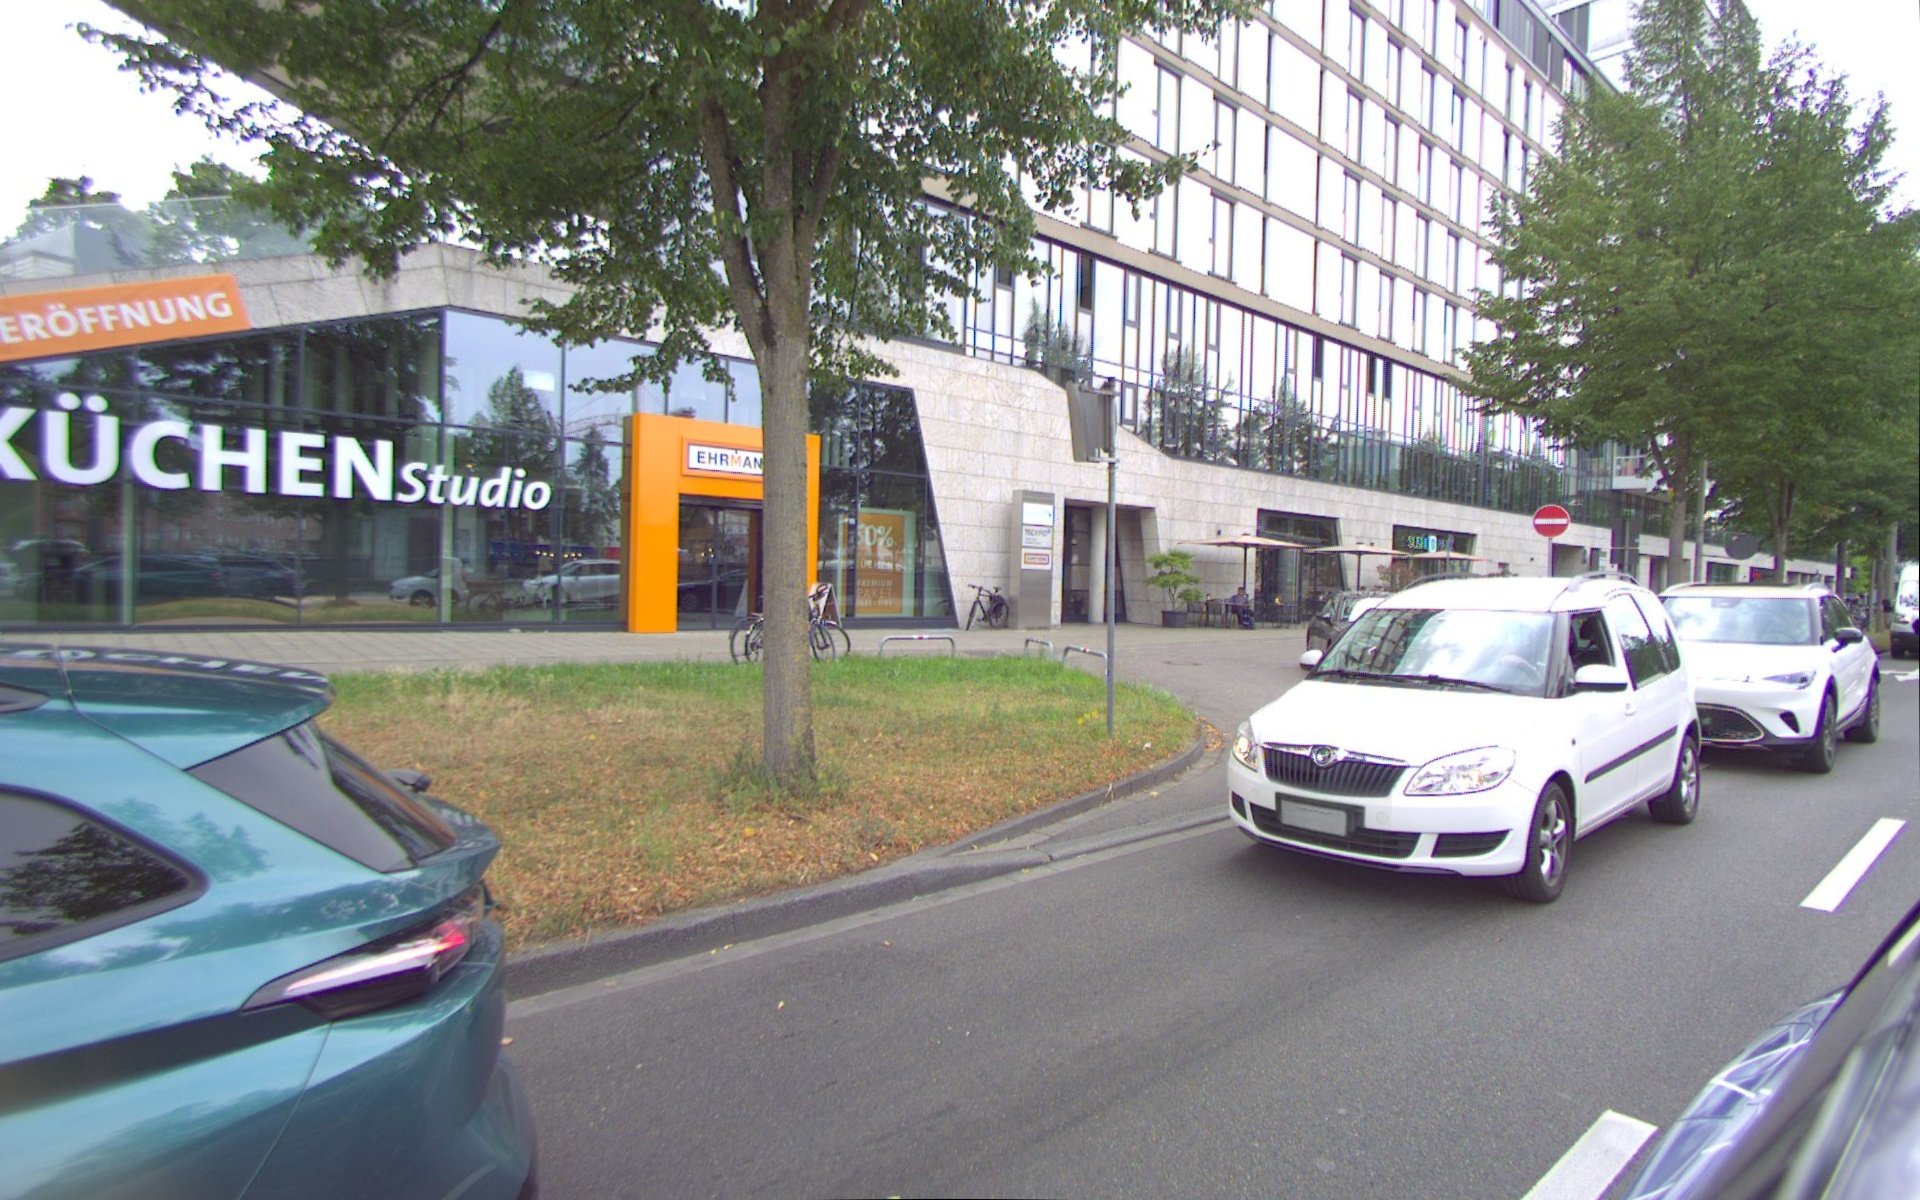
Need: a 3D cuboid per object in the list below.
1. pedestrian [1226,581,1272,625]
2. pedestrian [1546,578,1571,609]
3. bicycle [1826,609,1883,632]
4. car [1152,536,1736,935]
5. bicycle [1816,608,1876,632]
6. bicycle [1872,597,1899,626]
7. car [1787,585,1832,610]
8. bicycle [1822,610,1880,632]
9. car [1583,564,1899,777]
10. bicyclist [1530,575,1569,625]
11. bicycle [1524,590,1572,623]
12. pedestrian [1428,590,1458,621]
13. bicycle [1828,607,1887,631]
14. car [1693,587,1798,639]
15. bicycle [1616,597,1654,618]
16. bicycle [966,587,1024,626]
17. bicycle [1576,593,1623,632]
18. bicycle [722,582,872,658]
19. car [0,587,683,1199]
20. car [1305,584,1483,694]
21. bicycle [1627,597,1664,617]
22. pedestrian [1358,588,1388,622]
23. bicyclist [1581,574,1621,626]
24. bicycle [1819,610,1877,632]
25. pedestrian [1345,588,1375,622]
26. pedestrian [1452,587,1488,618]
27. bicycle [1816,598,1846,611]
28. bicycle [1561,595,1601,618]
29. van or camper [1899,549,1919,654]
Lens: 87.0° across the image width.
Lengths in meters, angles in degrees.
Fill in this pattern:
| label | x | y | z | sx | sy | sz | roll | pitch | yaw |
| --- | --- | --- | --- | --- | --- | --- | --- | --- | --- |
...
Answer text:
| label | x | y | z | sx | sy | sz | roll | pitch | yaw |
| --- | --- | --- | --- | --- | --- | --- | --- | --- | --- |
| pedestrian | 8.481 | 0.094 | 29.701 | 0.932 | 1.243 | 0.900 | 1 | 1 | -36 |
| pedestrian | 28.522 | -0.316 | 48.238 | 0.707 | 1.424 | 0.759 | 1 | 1 | -33 |
| bicycle | 39.954 | 0.922 | 45.218 | 0.602 | 0.963 | 1.862 | 1 | -2 | -43 |
| car | 3.149 | 0.545 | 6.223 | 3.952 | 1.677 | 1.782 | 0 | 2 | -41 |
| bicycle | 38.355 | 0.861 | 43.829 | 0.564 | 1.008 | 1.862 | 1 | -2 | -43 |
| bicycle | 37.351 | 0.449 | 40.845 | 0.709 | 1.130 | 2.170 | -2 | -2 | 41 |
| car | 61.836 | -0.182 | 73.649 | 4.166 | 1.607 | 1.862 | 0 | 4 | -41 |
| bicycle | 39.386 | 0.926 | 44.761 | 0.642 | 0.963 | 1.862 | 1 | -2 | -43 |
| car | 7.803 | 0.564 | 9.979 | 3.954 | 1.677 | 1.781 | 0 | 0 | -42 |
| bicyclist | 19.630 | -0.002 | 33.708 | 0.972 | 1.601 | 0.727 | 0 | 3 | -38 |
| bicycle | 19.587 | 0.207 | 33.710 | 1.970 | 1.055 | 0.675 | 1 | 1 | -39 |
| pedestrian | 19.217 | 0.219 | 40.299 | 0.743 | 1.207 | 0.723 | 1 | 1 | -19 |
| bicycle | 40.471 | 0.866 | 45.661 | 0.693 | 1.079 | 1.931 | 1 | -2 | -43 |
| car | 26.043 | 0.417 | 33.490 | 4.514 | 1.571 | 1.941 | 1 | 1 | -42 |
| bicycle | 36.803 | 0.392 | 55.194 | 0.524 | 1.039 | 1.599 | 0 | 2 | -43 |
| bicycle | 0.886 | 0.164 | 25.128 | 1.467 | 0.921 | 0.519 | 0 | 1 | -41 |
| bicycle | 20.354 | 0.406 | 32.189 | 1.971 | 1.157 | 0.675 | 1 | 2 | -41 |
| bicycle | -2.230 | 0.253 | 14.083 | 0.630 | 0.968 | 2.074 | 2 | 2 | 44 |
| car | -2.607 | 0.700 | 0.882 | 4.239 | 1.450 | 1.789 | 0 | 0 | -44 |
| car | 7.012 | 0.510 | 16.877 | 1.919 | 1.494 | 4.850 | 2 | 1 | 14 |
| bicycle | 38.326 | 0.400 | 56.601 | 0.524 | 1.039 | 1.599 | 0 | 2 | -43 |
| pedestrian | 15.073 | 0.179 | 36.927 | 0.745 | 1.207 | 0.720 | 1 | 1 | -39 |
| bicyclist | 20.311 | -0.009 | 32.079 | 0.972 | 1.601 | 0.726 | 0 | 3 | -39 |
| bicycle | 38.830 | 0.930 | 44.280 | 0.493 | 0.963 | 1.862 | 1 | -2 | -43 |
| pedestrian | 14.347 | 0.174 | 36.300 | 0.746 | 1.207 | 0.720 | 1 | 1 | -42 |
| pedestrian | 20.565 | 0.092 | 40.842 | 1.083 | 1.207 | 0.776 | 1 | 1 | -26 |
| bicycle | 85.976 | 0.474 | 99.918 | 2.231 | 1.191 | 0.961 | 2 | 1 | 42 |
| bicycle | 31.176 | 0.309 | 50.795 | 1.584 | 1.039 | 0.606 | 3 | 2 | 23 |
| van or camper | 26.147 | 0.052 | 26.175 | 6.230 | 2.540 | 2.181 | 0 | 0 | -42 |
